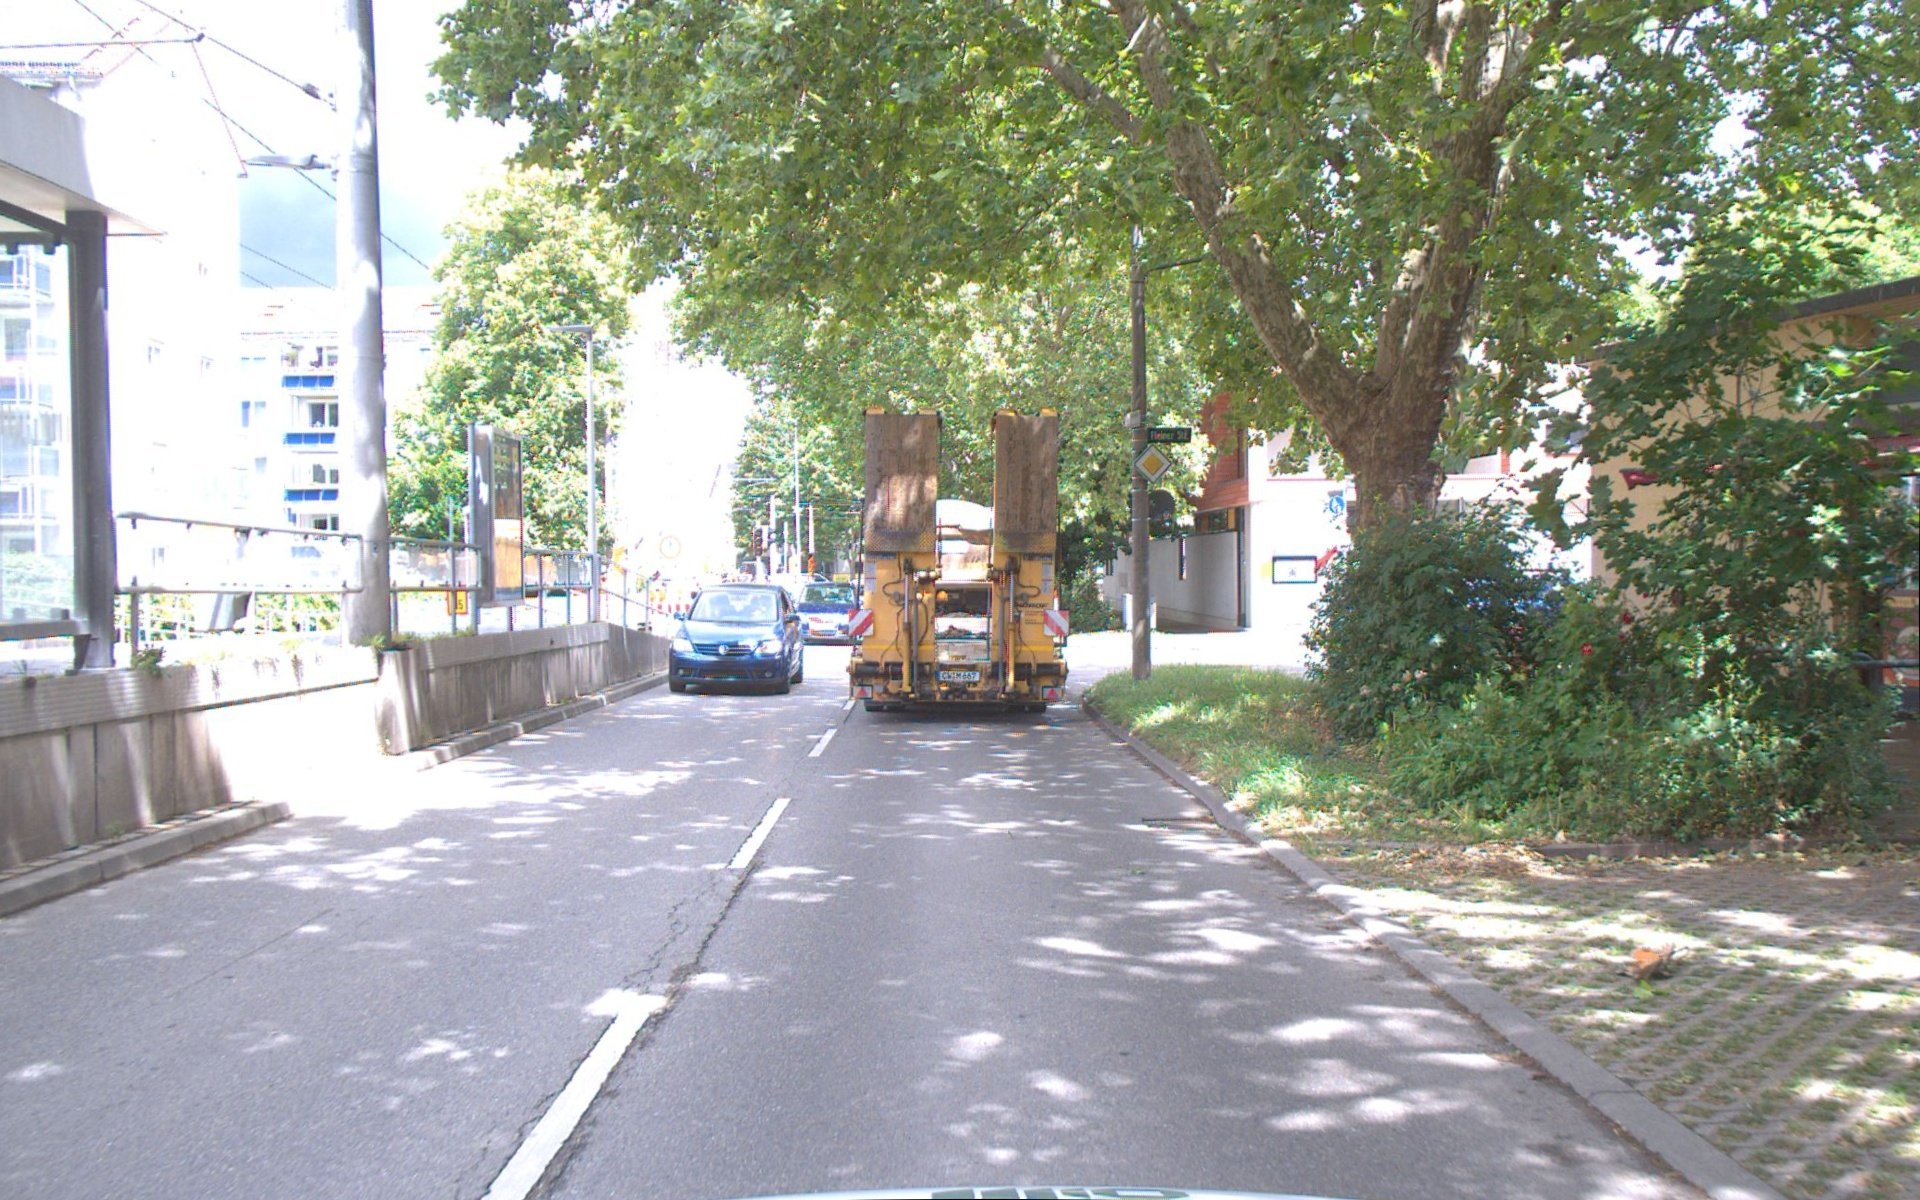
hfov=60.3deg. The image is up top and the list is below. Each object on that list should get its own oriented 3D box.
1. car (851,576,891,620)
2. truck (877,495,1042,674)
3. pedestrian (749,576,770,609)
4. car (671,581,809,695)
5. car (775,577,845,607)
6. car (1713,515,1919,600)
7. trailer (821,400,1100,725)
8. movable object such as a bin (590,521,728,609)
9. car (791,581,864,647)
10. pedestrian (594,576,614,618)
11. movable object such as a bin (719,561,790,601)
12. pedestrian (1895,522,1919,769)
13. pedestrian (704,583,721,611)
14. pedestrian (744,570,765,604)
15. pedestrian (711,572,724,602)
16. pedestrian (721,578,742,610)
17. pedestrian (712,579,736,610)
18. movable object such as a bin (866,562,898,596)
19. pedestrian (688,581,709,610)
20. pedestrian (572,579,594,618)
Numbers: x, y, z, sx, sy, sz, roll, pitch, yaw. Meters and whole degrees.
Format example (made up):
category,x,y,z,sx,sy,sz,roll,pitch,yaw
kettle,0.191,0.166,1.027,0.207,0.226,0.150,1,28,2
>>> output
category,x,y,z,sx,sy,sz,roll,pitch,yaw
car,-3.976,-0.054,74.250,1.718,1.873,4.643,1,-1,-3
truck,-0.022,-0.292,33.482,2.928,3.190,7.887,0,0,0
pedestrian,-11.677,-0.445,96.292,0.868,1.900,0.836,0,0,28
car,-3.248,0.537,24.995,1.662,1.592,3.859,0,0,-1
car,-11.230,-0.587,123.862,5.005,2.139,1.969,1,0,-16
car,16.303,-0.806,30.870,3.914,1.468,1.523,-2,2,-9
trailer,-0.020,-0.449,24.009,3.090,3.614,11.096,0,0,0
movable object such as a bin,-19.535,-2.221,107.174,9.020,5.509,2.662,0,0,26
car,-3.485,0.348,44.069,1.718,1.662,4.117,1,0,-2
pedestrian,-15.211,-0.128,70.719,0.685,1.748,0.867,0,0,-1
movable object such as a bin,-13.911,-1.285,111.890,4.280,2.675,2.218,0,0,26
pedestrian,6.922,0.310,11.294,0.611,1.705,0.772,-1,0,-1
pedestrian,-14.827,-0.188,99.108,0.871,1.673,0.833,0,0,-18
pedestrian,-11.598,-0.712,93.323,0.876,1.900,0.829,0,0,-30
pedestrian,-15.810,-0.848,107.817,0.820,1.900,0.885,0,0,-13
pedestrian,-12.682,-0.345,91.847,0.867,1.791,0.837,0,0,19
pedestrian,-13.405,-0.297,93.961,0.873,1.745,1.103,1,0,45
movable object such as a bin,-4.695,-1.259,99.467,1.369,2.049,2.558,0,0,10
pedestrian,-14.991,-0.263,94.796,0.877,1.673,0.890,0,0,-32
pedestrian,-16.033,-0.075,70.381,0.717,1.654,0.867,0,0,-1
